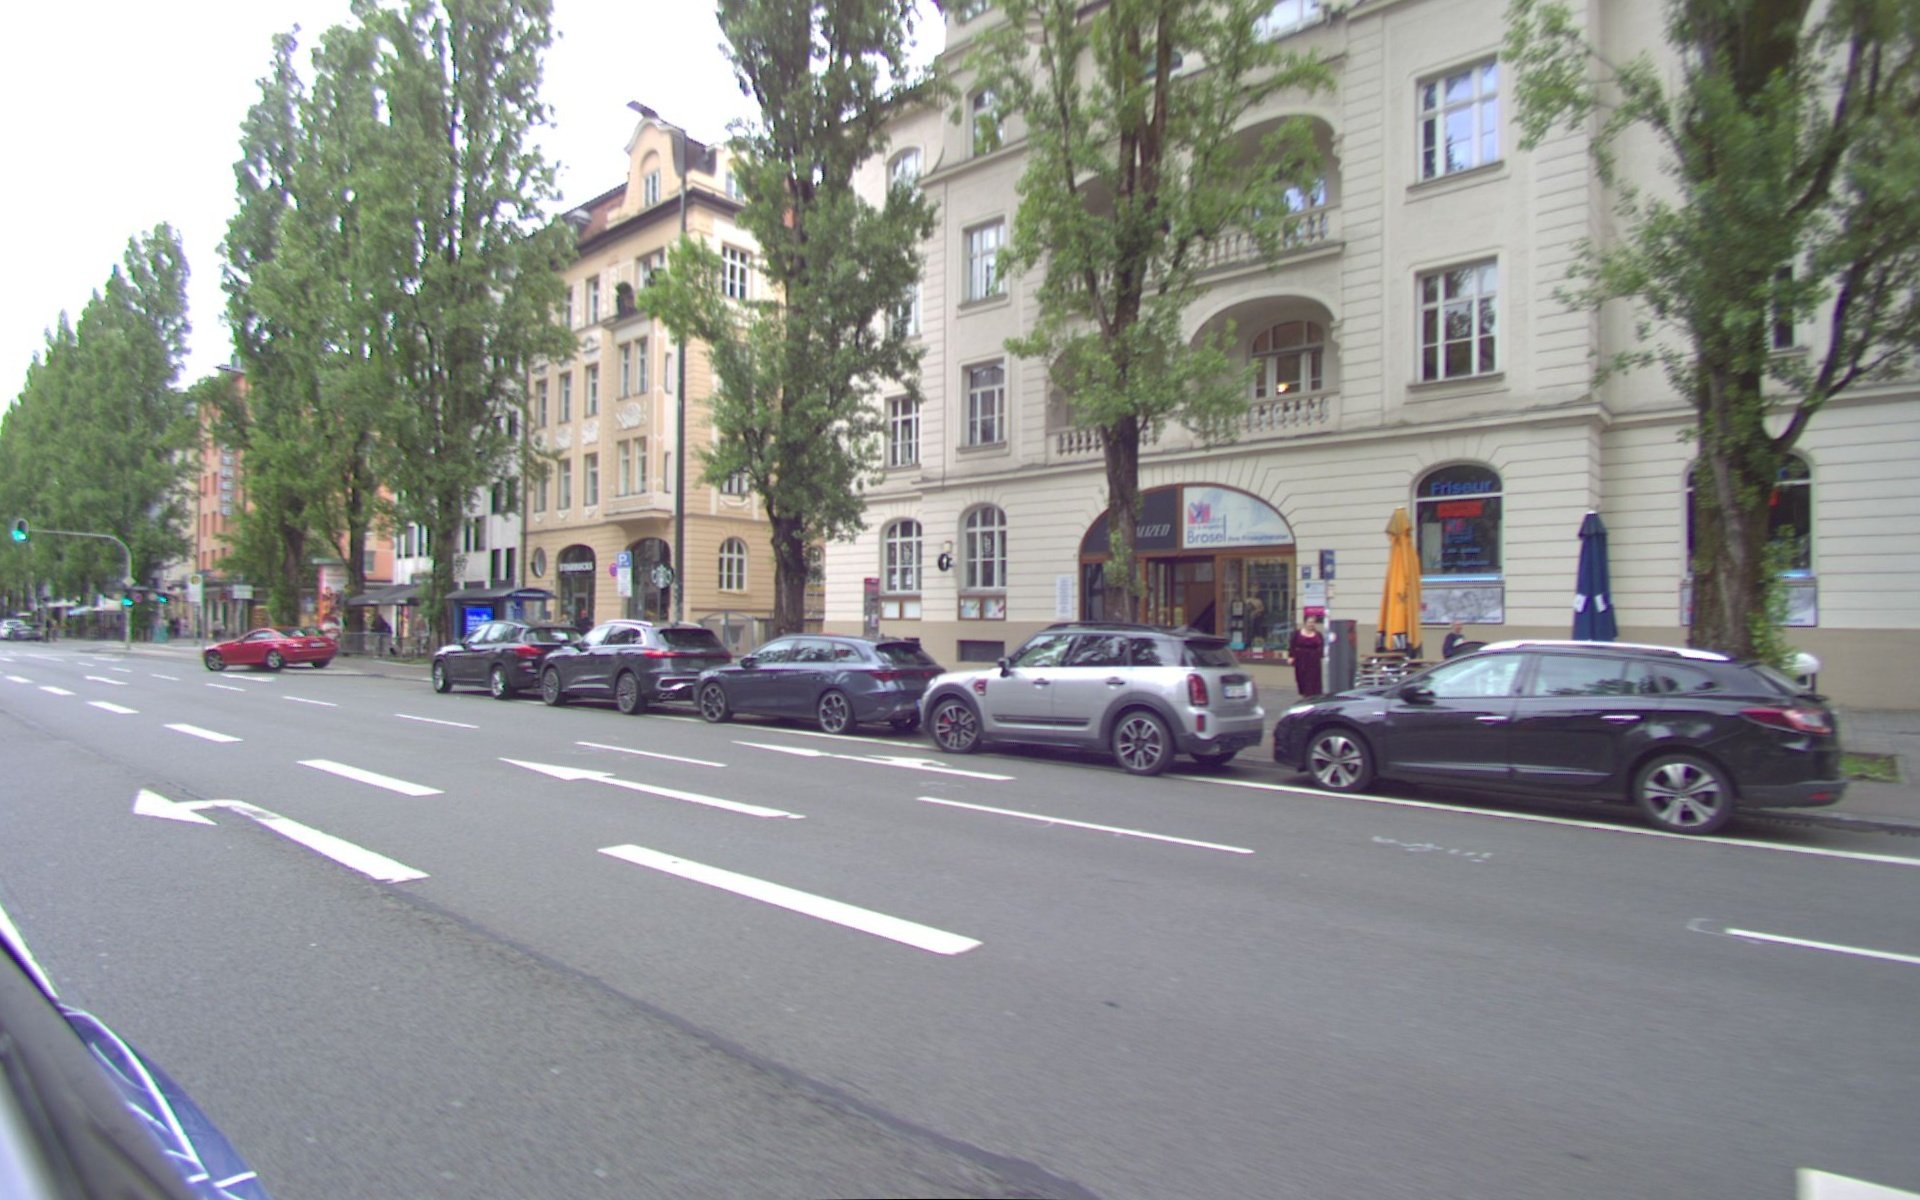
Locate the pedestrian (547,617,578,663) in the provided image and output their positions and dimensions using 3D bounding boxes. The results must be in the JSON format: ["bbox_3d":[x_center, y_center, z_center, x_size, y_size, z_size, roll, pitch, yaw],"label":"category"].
[{"bbox_3d":[-15.236,1.527,38.751,0.977,1.694,0.724,-1,-1,41],"label":"pedestrian"}]

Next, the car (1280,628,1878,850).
[{"bbox_3d":[5.277,1.040,9.066,4.312,1.516,1.645,-1,-4,42],"label":"car"}]

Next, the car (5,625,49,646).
[{"bbox_3d":[-68.321,2.559,74.084,4.586,1.449,1.686,-1,-3,40],"label":"car"}]

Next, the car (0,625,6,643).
[{"bbox_3d":[-78.604,2.728,82.004,4.184,1.392,1.478,-1,-3,41],"label":"car"}]

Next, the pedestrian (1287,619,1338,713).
[{"bbox_3d":[5.989,1.097,17.188,0.784,1.549,0.679,-1,0,20],"label":"pedestrian"}]

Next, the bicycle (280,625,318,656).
[{"bbox_3d":[-29.744,1.819,45.553,0.501,1.299,1.955,-1,0,-2],"label":"bicycle"}]

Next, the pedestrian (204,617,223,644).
[{"bbox_3d":[-46.576,1.912,63.139,0.934,1.631,0.770,-1,-2,40],"label":"pedestrian"}]

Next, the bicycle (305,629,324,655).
[{"bbox_3d":[-28.375,1.839,44.520,0.499,1.096,1.815,0,0,-26],"label":"bicycle"}]

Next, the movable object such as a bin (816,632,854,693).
[{"bbox_3d":[-2.768,1.377,22.444,0.586,1.326,0.598,-1,-2,41],"label":"movable object such as a bin"}]

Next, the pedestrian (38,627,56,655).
[{"bbox_3d":[-62.273,2.793,68.996,0.725,1.809,0.995,0,0,-31],"label":"pedestrian"}]

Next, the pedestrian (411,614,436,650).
[{"bbox_3d":[-26.807,1.600,50.534,0.954,1.757,0.834,-1,0,42],"label":"pedestrian"}]

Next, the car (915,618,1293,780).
[{"bbox_3d":[1.577,1.041,11.942,4.130,1.587,1.763,-1,-4,41],"label":"car"}]

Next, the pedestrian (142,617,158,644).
[{"bbox_3d":[-55.266,2.083,69.026,0.778,1.784,0.716,-1,-2,42],"label":"pedestrian"}]

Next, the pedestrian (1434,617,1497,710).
[{"bbox_3d":[8.724,1.069,17.457,0.804,1.549,0.760,-1,0,40],"label":"pedestrian"}]

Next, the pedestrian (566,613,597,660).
[{"bbox_3d":[-14.724,1.406,39.374,0.911,1.801,0.791,-1,0,41],"label":"pedestrian"}]

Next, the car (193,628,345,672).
[{"bbox_3d":[-21.771,1.537,31.910,4.060,1.308,1.874,0,-2,18],"label":"car"}]

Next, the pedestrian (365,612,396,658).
[{"bbox_3d":[-22.998,1.385,40.180,0.895,1.757,0.821,0,0,-44],"label":"pedestrian"}]

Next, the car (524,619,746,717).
[{"bbox_3d":[-6.142,1.186,18.844,4.628,1.607,1.784,-1,-3,41],"label":"car"}]

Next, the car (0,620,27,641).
[{"bbox_3d":[-74.360,2.356,79.080,4.094,1.595,1.685,-1,-2,41],"label":"car"}]

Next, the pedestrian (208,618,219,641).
[{"bbox_3d":[-56.256,2.245,76.273,0.513,1.704,0.580,-1,-2,41],"label":"pedestrian"}]

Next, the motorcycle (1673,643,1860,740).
[{"bbox_3d":[10.291,1.139,12.989,1.806,1.148,0.473,0,-2,28],"label":"motorcycle"}]

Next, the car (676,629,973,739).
[{"bbox_3d":[-2.190,1.209,15.609,4.679,1.435,1.669,-1,-4,37],"label":"car"}]

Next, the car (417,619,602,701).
[{"bbox_3d":[-9.992,1.247,22.282,4.711,1.630,1.802,-1,-2,39],"label":"car"}]

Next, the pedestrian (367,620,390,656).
[{"bbox_3d":[-28.844,1.866,50.203,0.941,1.753,0.719,-1,0,41],"label":"pedestrian"}]
